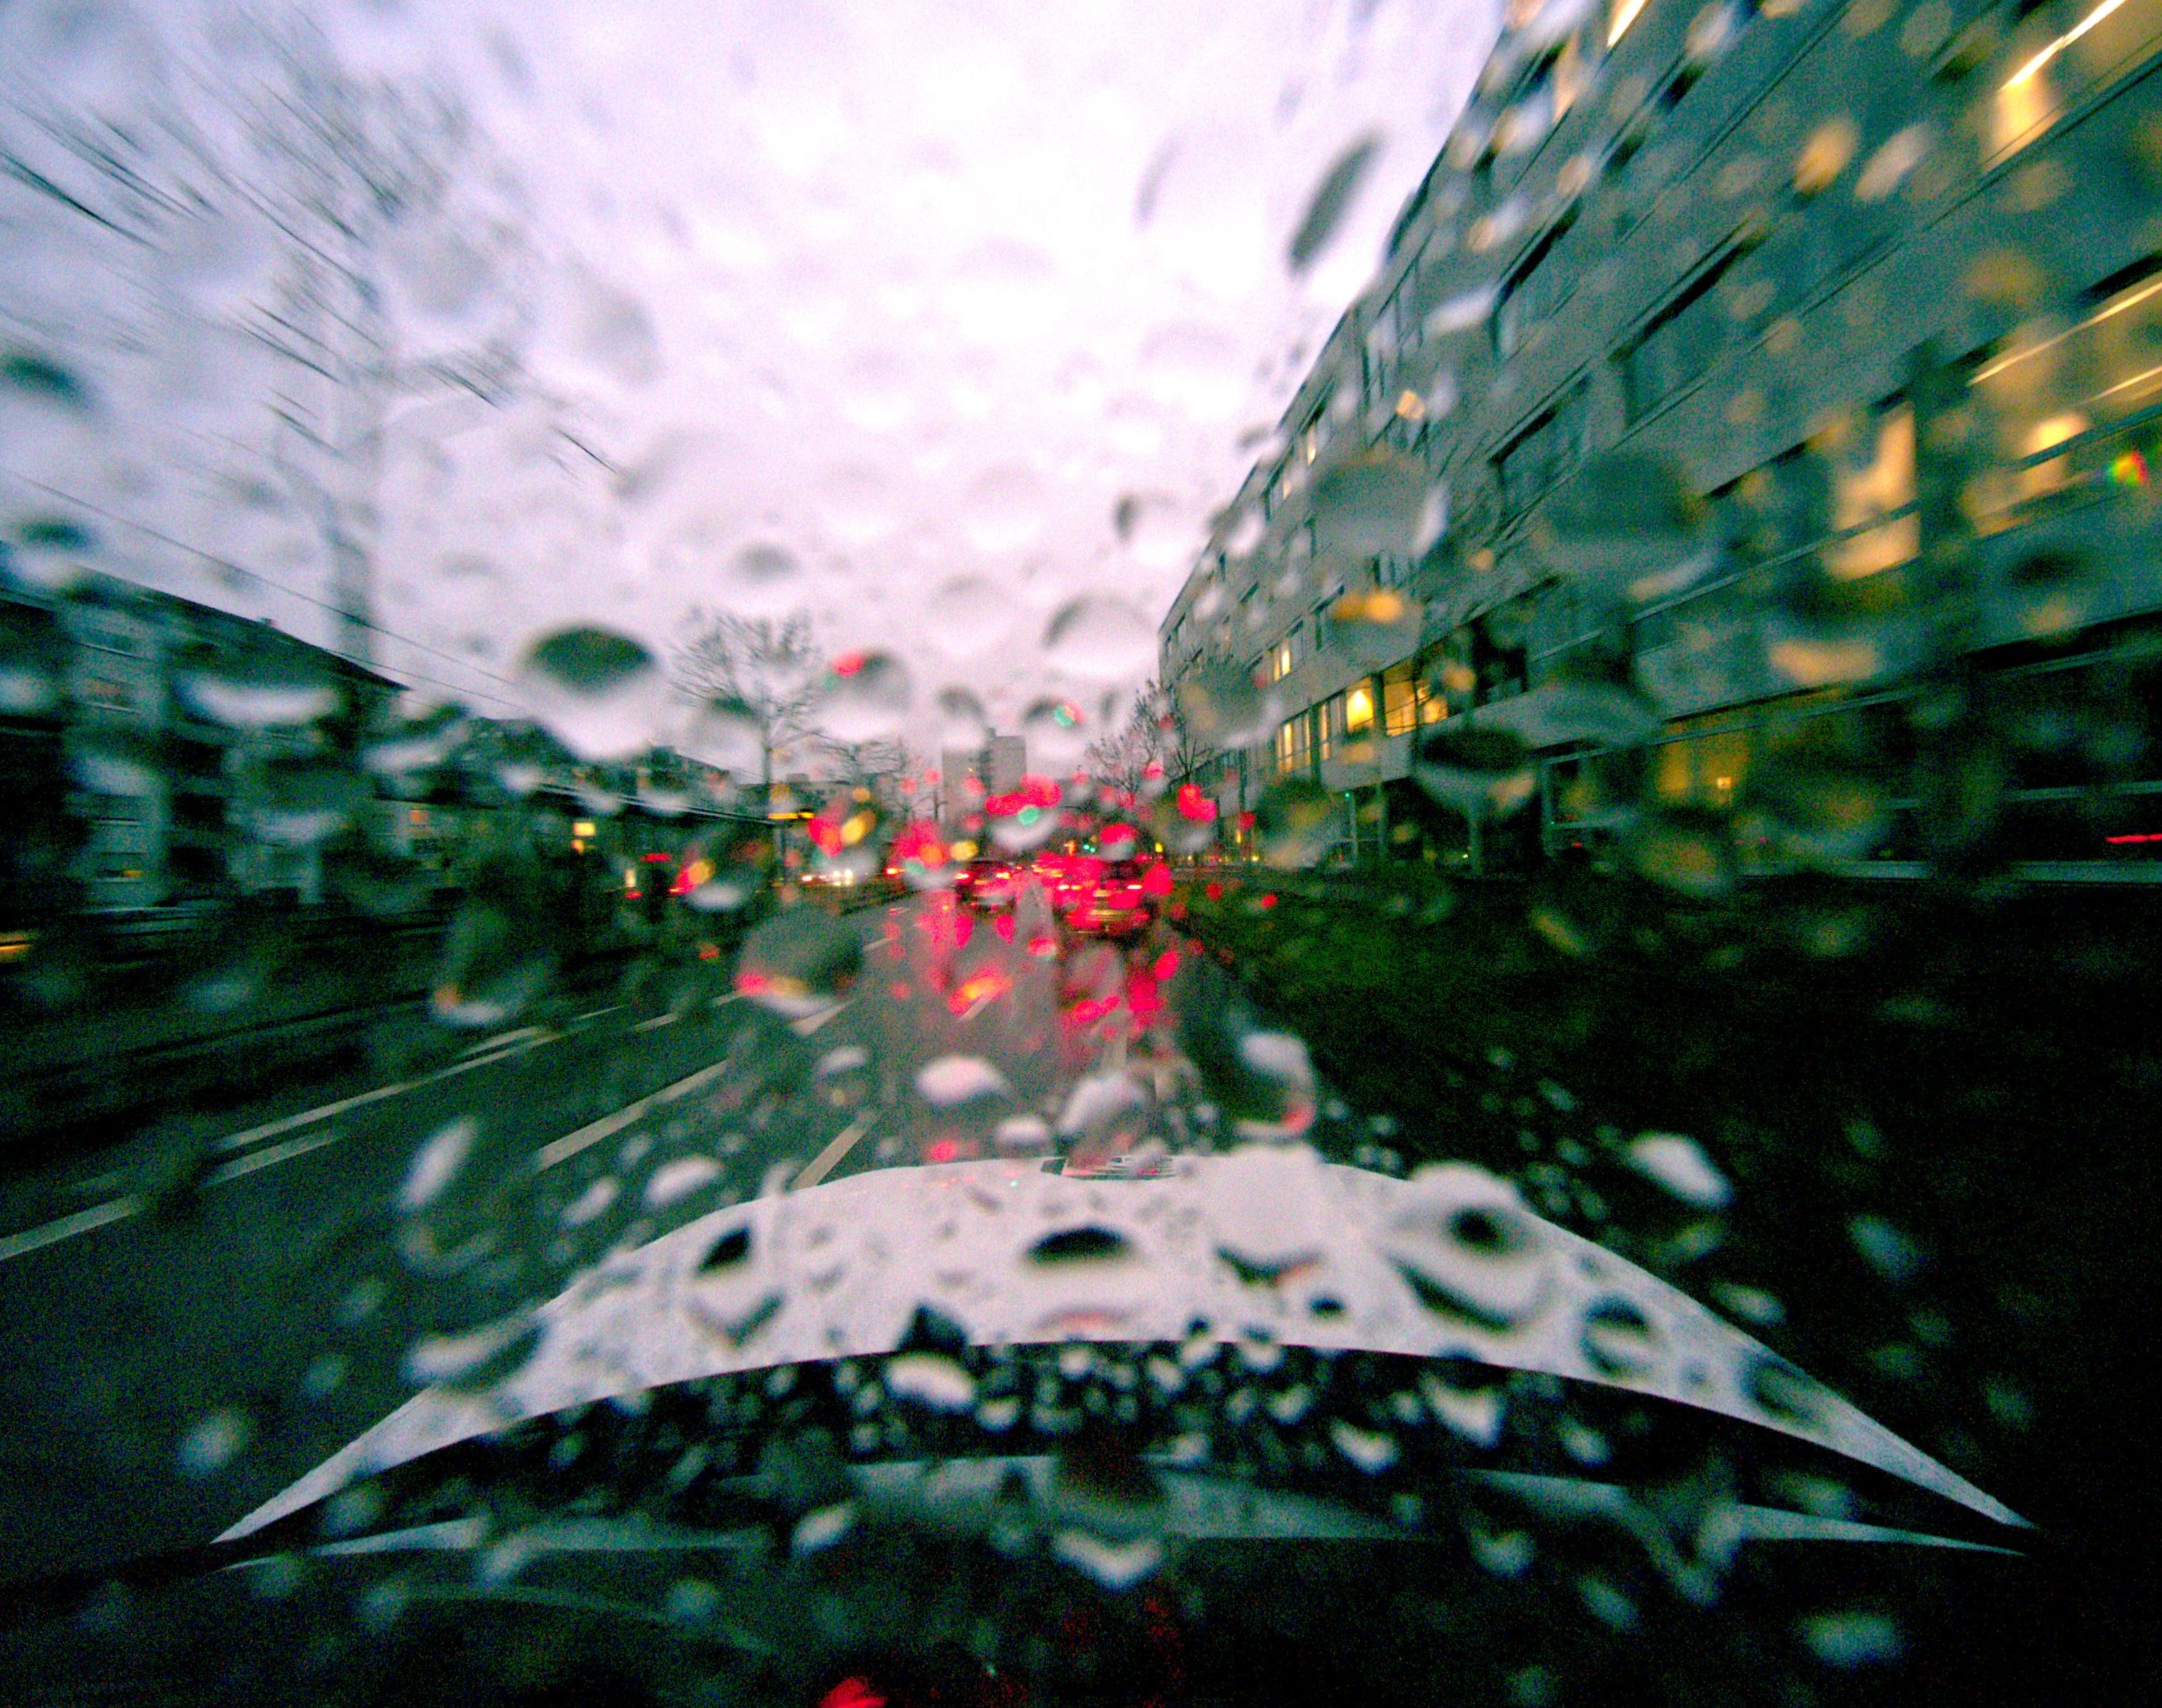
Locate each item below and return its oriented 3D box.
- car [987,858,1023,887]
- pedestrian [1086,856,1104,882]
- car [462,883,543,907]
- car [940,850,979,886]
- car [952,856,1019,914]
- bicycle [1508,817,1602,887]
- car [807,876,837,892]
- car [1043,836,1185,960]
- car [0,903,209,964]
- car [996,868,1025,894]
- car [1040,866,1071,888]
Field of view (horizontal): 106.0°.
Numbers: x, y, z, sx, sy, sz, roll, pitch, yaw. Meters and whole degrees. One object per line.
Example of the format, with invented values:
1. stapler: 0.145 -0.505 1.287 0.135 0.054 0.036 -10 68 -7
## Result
1. car: -4.510 1.131 48.820 1.990 1.642 4.016 -1 -2 -4
2. pedestrian: 1.002 1.061 57.648 0.789 1.750 0.866 -7 0 22
3. car: -36.502 2.601 51.449 3.797 1.366 1.693 -1 -2 -10
4. car: -7.459 0.857 50.344 1.949 2.033 4.875 -2 -1 -4
5. car: -3.132 1.018 27.265 1.991 1.712 4.316 -1 -2 -5
6. bicycle: 9.789 -0.054 16.930 0.817 1.273 2.466 -7 0 11
7. car: -25.419 2.927 79.950 1.754 1.497 3.756 -2 -2 -1
8. car: 0.455 0.766 15.340 1.992 1.976 4.057 -1 -2 -7
9. car: -26.142 2.038 21.525 1.775 1.293 4.209 -1 -2 -3
10. car: -5.672 2.185 65.978 1.988 2.014 3.997 -2 -2 -2
11. car: -1.765 1.574 55.744 1.883 1.353 4.095 -2 0 -4
